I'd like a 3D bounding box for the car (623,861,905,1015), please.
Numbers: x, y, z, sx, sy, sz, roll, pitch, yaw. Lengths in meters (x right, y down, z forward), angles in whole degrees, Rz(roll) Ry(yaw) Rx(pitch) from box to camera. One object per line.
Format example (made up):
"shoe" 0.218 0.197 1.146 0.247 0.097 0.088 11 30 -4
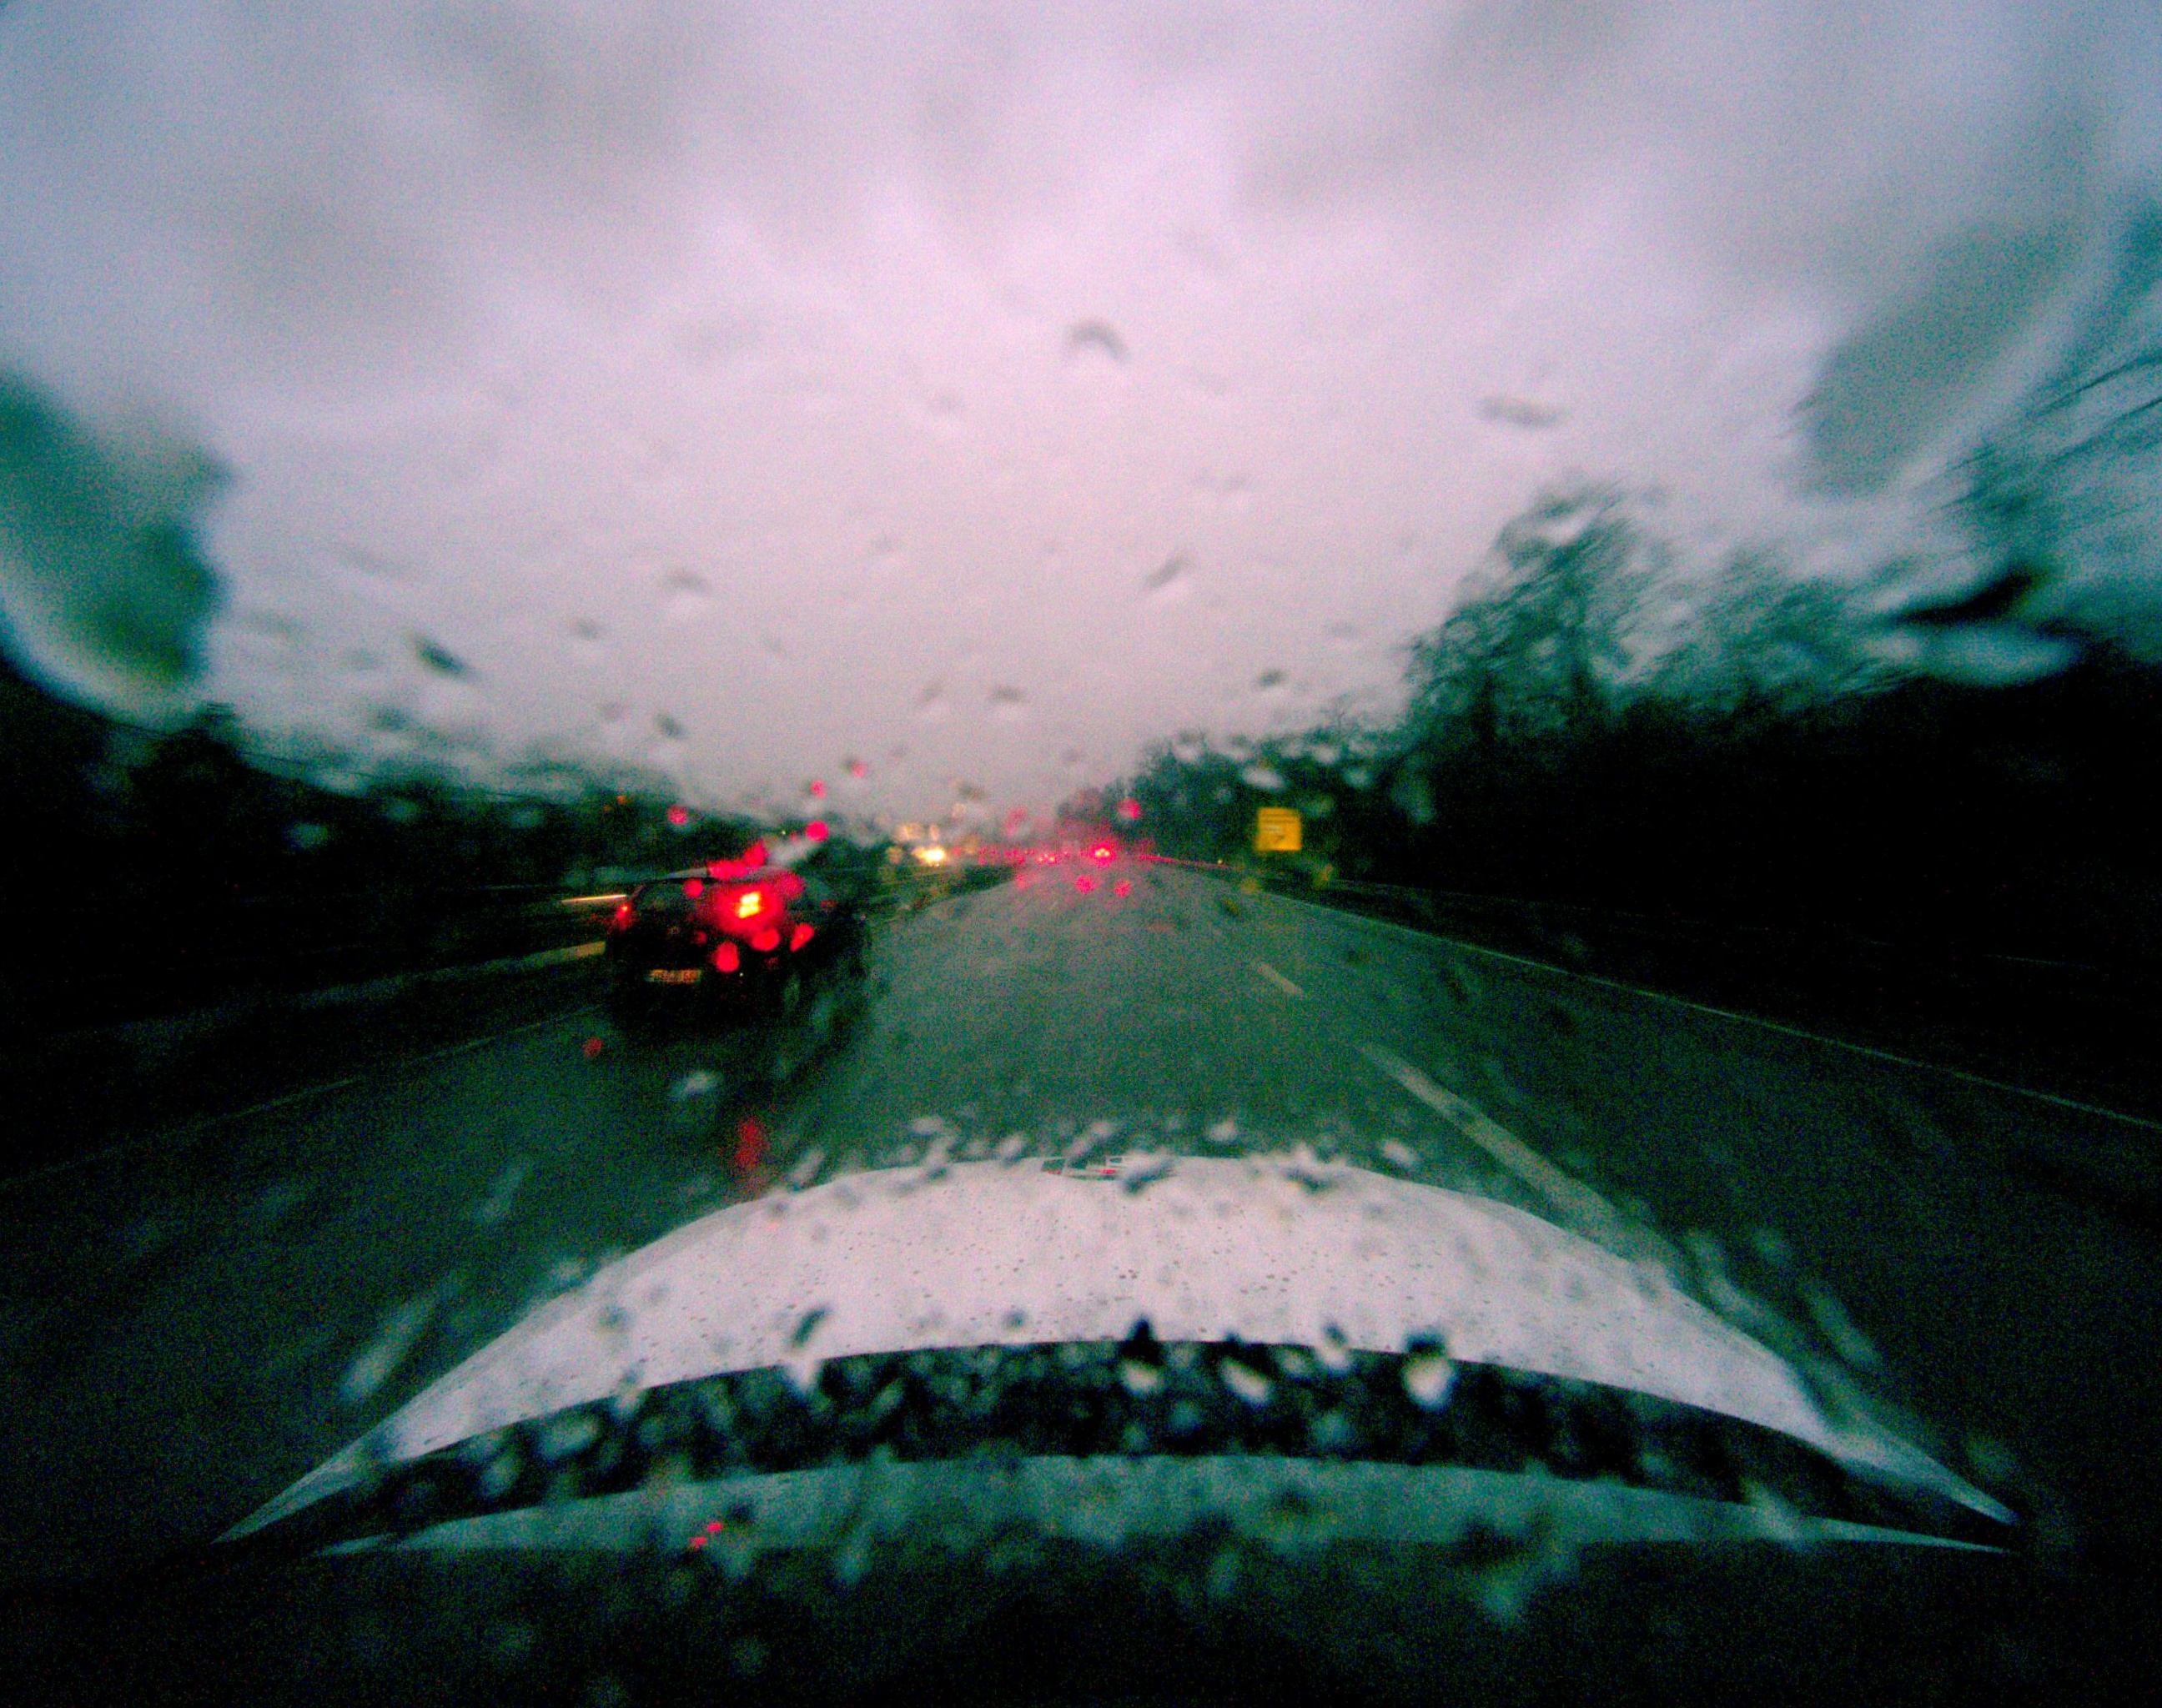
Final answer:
"car" -3.362 0.800 9.532 1.620 1.392 4.001 1 -1 1

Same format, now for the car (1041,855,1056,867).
"car" -3.700 0.793 92.547 1.410 1.317 3.084 1 0 2

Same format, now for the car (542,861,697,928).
"car" -12.522 1.012 22.483 1.758 1.626 4.524 -1 0 -1
